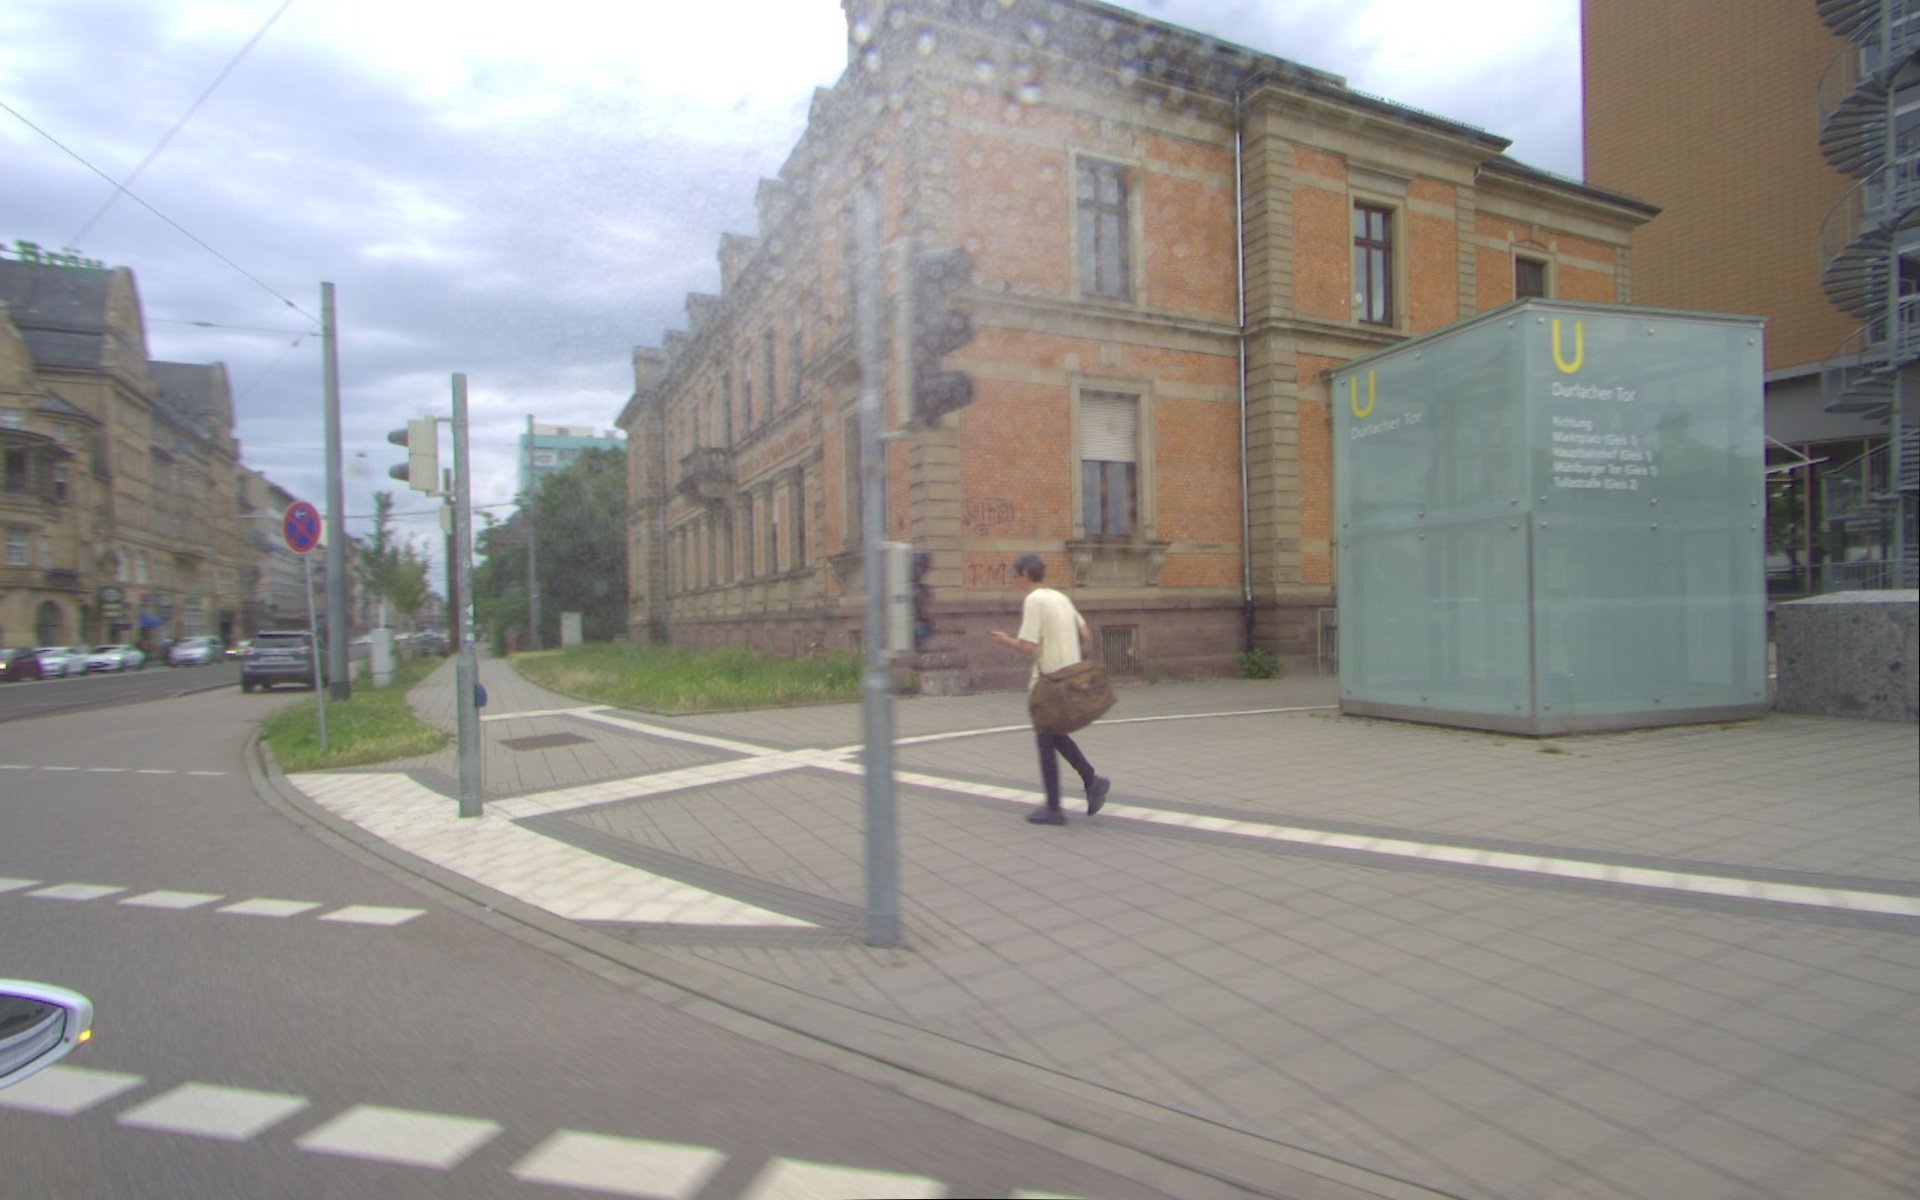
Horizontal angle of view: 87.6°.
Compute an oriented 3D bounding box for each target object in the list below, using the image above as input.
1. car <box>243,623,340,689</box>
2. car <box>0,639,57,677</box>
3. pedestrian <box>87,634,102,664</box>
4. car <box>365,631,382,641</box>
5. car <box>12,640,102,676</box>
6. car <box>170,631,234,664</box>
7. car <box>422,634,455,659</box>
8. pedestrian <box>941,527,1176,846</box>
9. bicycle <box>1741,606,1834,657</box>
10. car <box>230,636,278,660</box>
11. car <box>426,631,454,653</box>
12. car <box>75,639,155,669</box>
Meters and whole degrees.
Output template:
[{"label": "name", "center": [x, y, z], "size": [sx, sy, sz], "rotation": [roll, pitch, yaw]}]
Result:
[{"label": "car", "center": [-19.254, 1.577, 28.994], "size": [1.728, 1.778, 3.910], "rotation": [1, -2, -25]}, {"label": "car", "center": [-38.547, 2.347, 40.427], "size": [1.838, 1.417, 3.884], "rotation": [-3, 0, -22]}, {"label": "pedestrian", "center": [-50.605, 2.864, 58.570], "size": [0.625, 1.742, 0.528], "rotation": [-1, -1, -40]}, {"label": "car", "center": [-86.531, 5.344, 147.770], "size": [1.737, 1.468, 4.597], "rotation": [-1, -1, -25]}, {"label": "car", "center": [-40.856, 2.589, 45.410], "size": [1.724, 1.398, 4.347], "rotation": [-4, 0, -25]}, {"label": "car", "center": [-43.429, 2.678, 57.496], "size": [1.839, 1.728, 4.892], "rotation": [-2, -1, -24]}, {"label": "car", "center": [-32.636, 2.881, 62.747], "size": [1.617, 1.452, 3.916], "rotation": [-3, 0, -26]}, {"label": "pedestrian", "center": [0.661, 0.534, 6.669], "size": [1.268, 1.892, 0.882], "rotation": [-1, 0, 33]}, {"label": "bicycle", "center": [22.831, 0.859, 27.620], "size": [2.567, 1.356, 0.813], "rotation": [0, -2, -22]}, {"label": "car", "center": [-50.453, 3.387, 71.644], "size": [1.874, 1.530, 4.414], "rotation": [-2, -1, -24]}, {"label": "car", "center": [-40.218, 3.229, 77.541], "size": [1.733, 1.595, 3.916], "rotation": [-3, 0, -26]}, {"label": "car", "center": [-43.186, 2.716, 51.277], "size": [1.901, 1.397, 4.245], "rotation": [-1, -1, -23]}]
